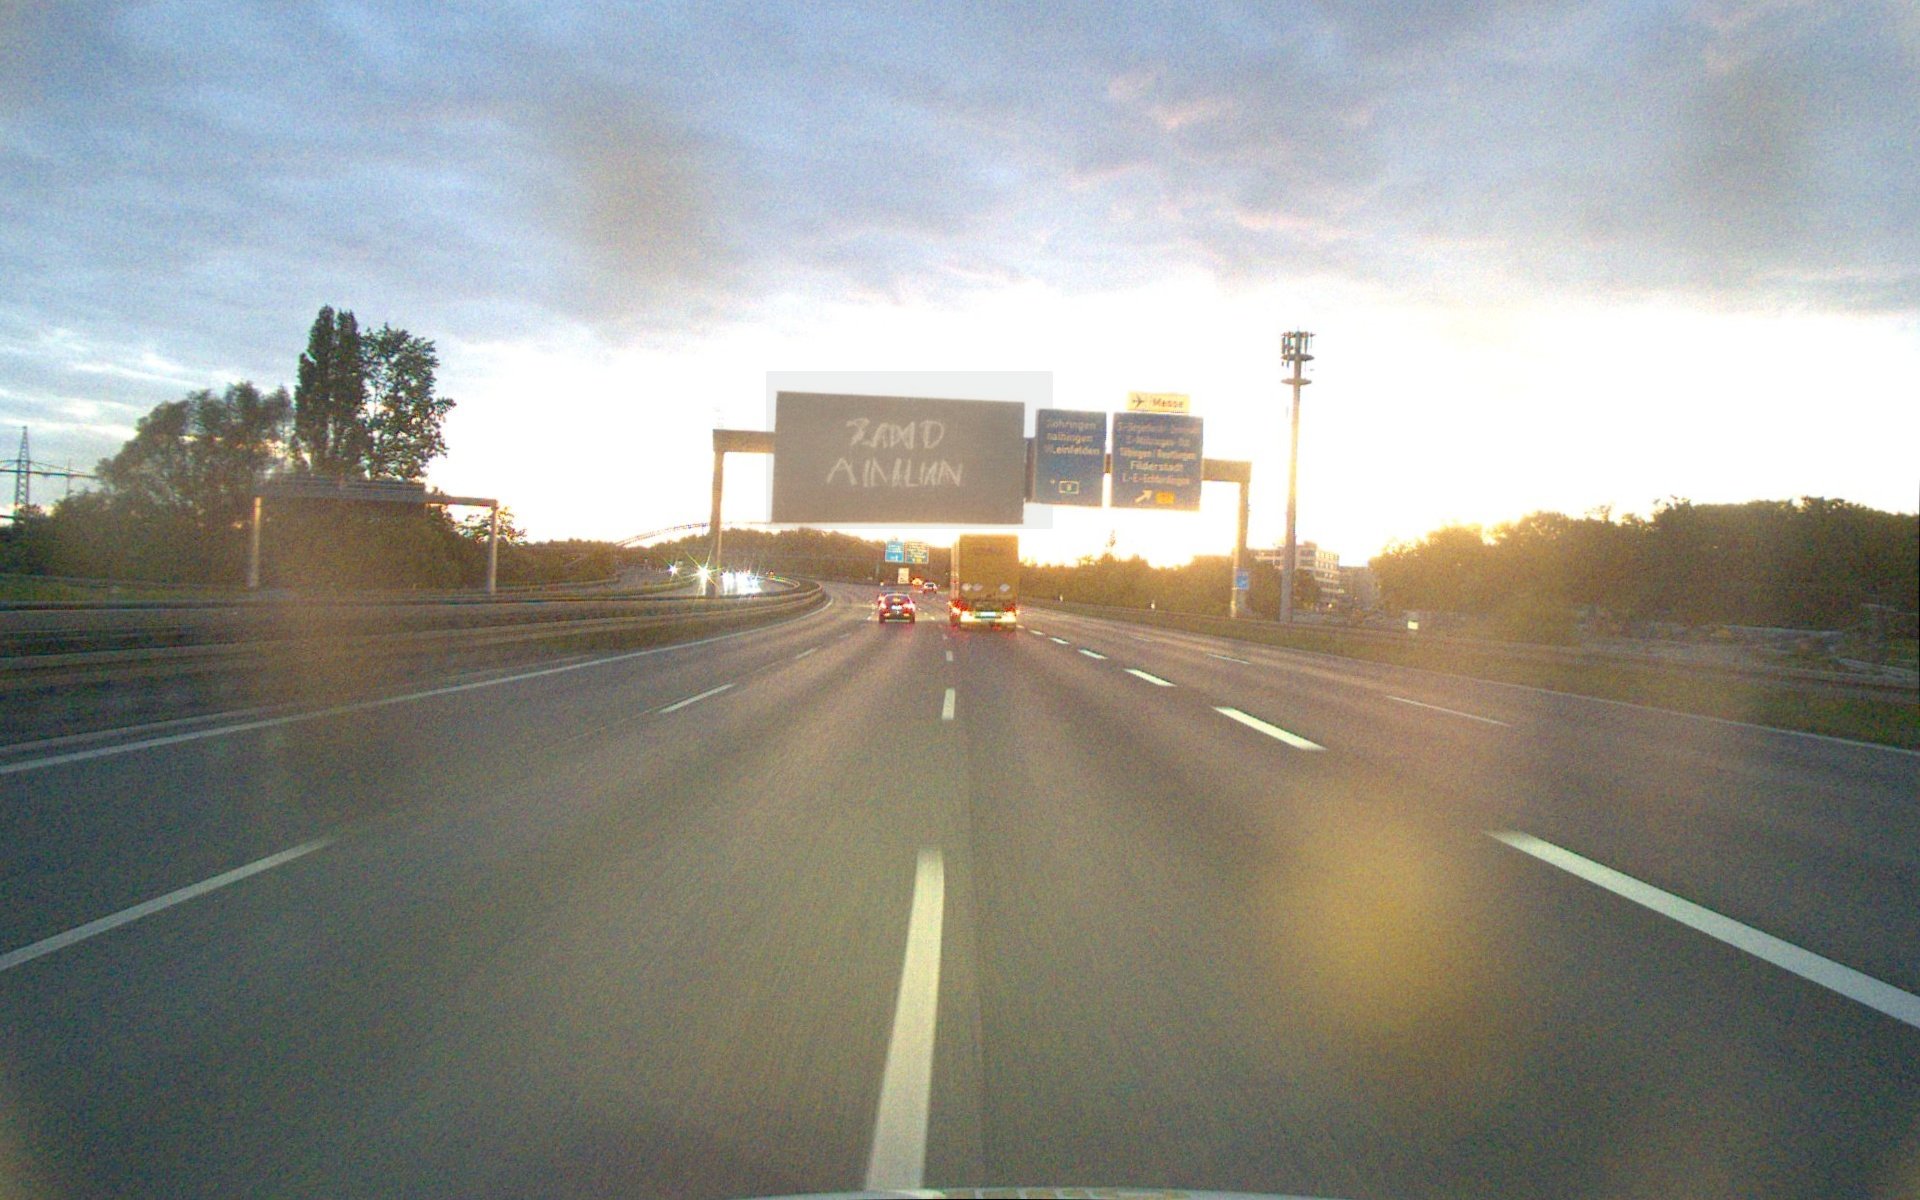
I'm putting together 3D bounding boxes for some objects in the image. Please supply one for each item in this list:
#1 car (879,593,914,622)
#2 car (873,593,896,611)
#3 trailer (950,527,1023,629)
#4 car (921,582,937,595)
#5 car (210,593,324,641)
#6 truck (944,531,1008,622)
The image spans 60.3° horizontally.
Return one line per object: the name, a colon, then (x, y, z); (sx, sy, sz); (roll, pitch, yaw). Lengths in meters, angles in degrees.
car: (-3.284, 0.394, 85.112); (1.656, 1.426, 3.405); (1, -1, -5)
car: (-6.039, 0.174, 132.762); (1.654, 1.426, 3.409); (0, -1, 1)
trailer: (1.061, -0.990, 72.471); (2.667, 4.142, 8.827); (1, 1, -2)
car: (-4.507, -1.594, 238.005); (1.955, 1.747, 3.994); (2, -1, -7)
car: (-22.475, 0.521, 53.838); (1.953, 1.428, 4.328); (2, 0, -2)
truck: (0.689, -1.180, 82.121); (2.636, 4.142, 10.516); (1, 1, -2)
